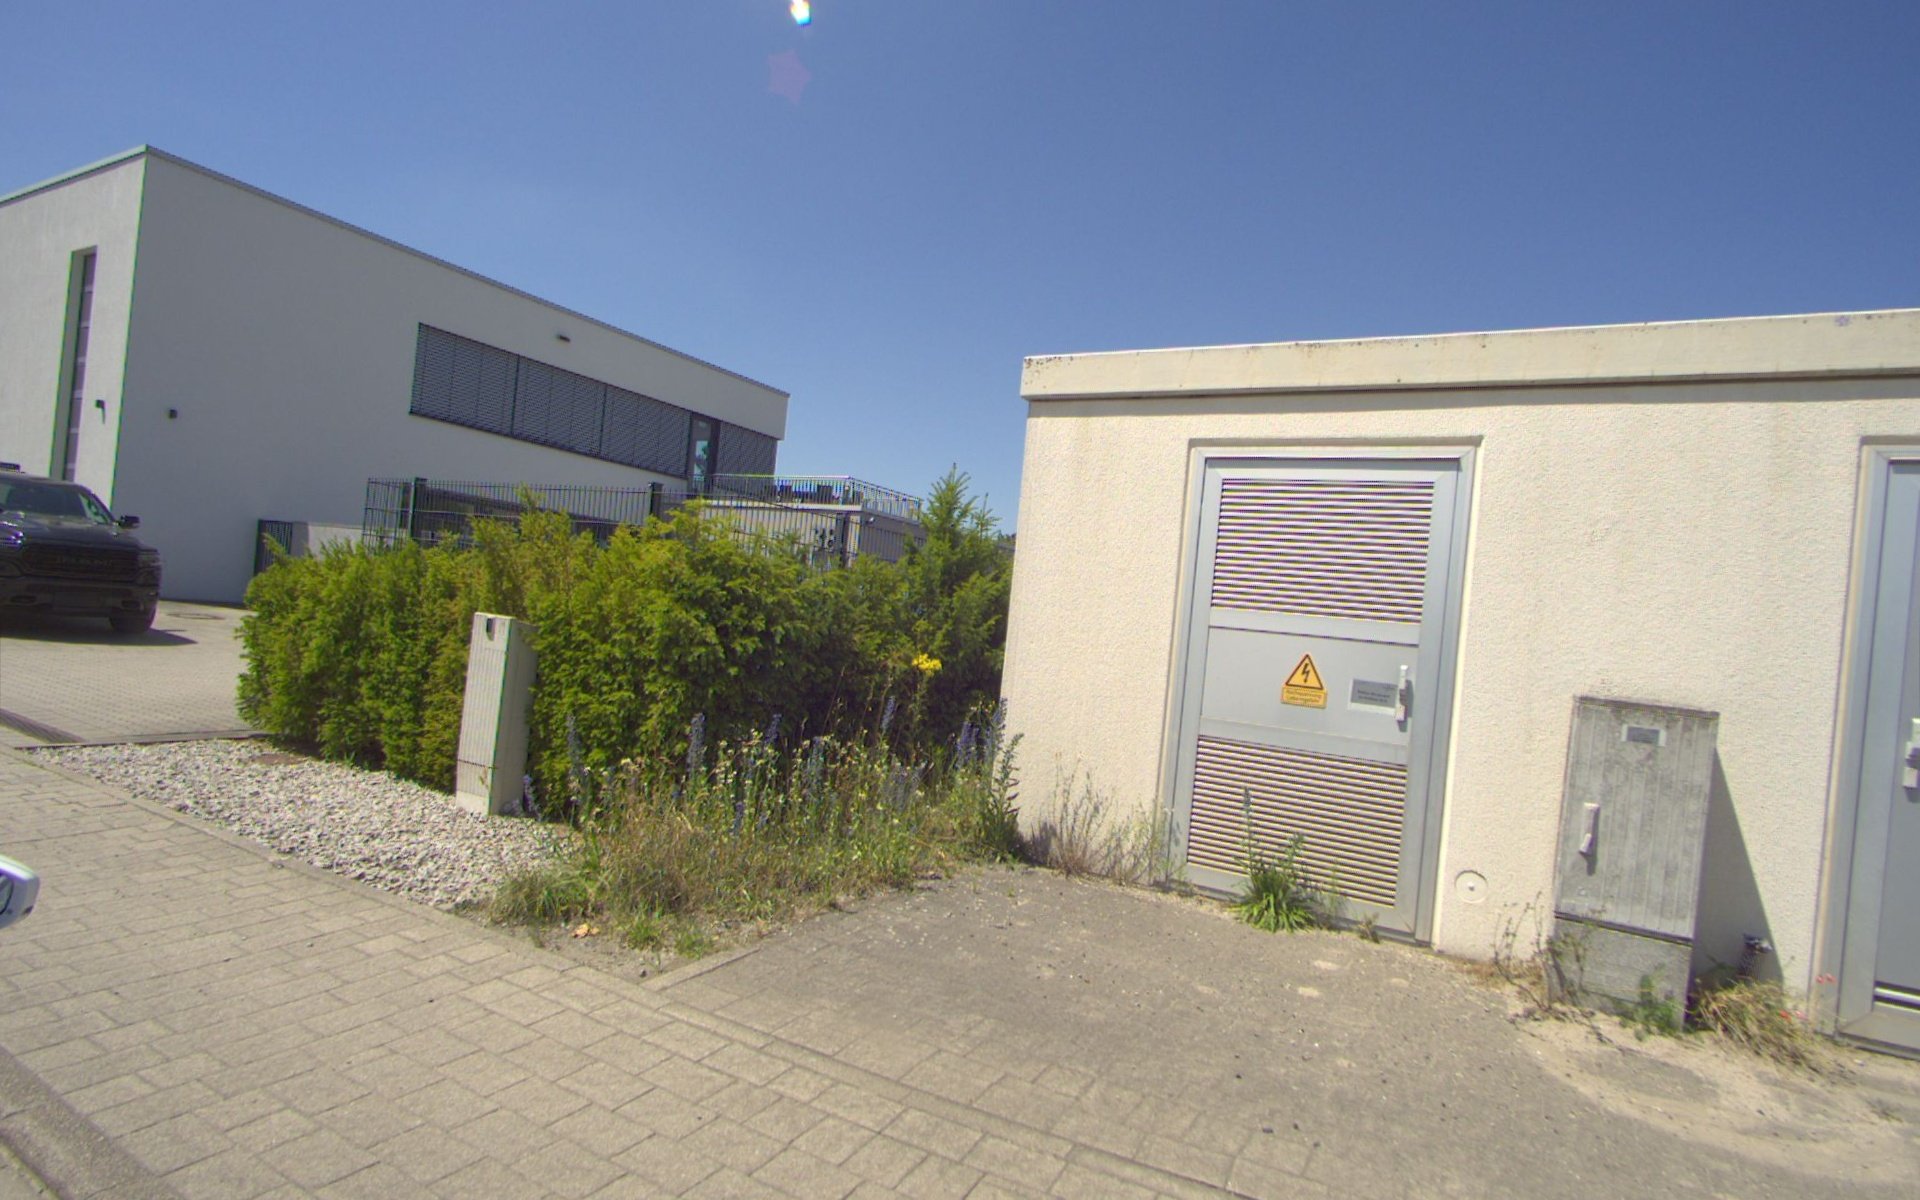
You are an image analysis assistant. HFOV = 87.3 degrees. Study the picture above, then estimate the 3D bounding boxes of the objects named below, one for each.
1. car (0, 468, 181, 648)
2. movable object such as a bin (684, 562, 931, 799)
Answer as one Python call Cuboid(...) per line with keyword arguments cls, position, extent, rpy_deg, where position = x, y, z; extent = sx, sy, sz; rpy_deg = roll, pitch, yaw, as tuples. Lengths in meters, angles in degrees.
Cuboid(cls="car", position=(-13.191, -0.744, 13.630), extent=(5.700, 2.039, 1.997), rpy_deg=(7, 0, 29))
Cuboid(cls="movable object such as a bin", position=(-1.127, 0.576, 7.678), extent=(1.150, 1.542, 1.385), rpy_deg=(5, 0, 30))
